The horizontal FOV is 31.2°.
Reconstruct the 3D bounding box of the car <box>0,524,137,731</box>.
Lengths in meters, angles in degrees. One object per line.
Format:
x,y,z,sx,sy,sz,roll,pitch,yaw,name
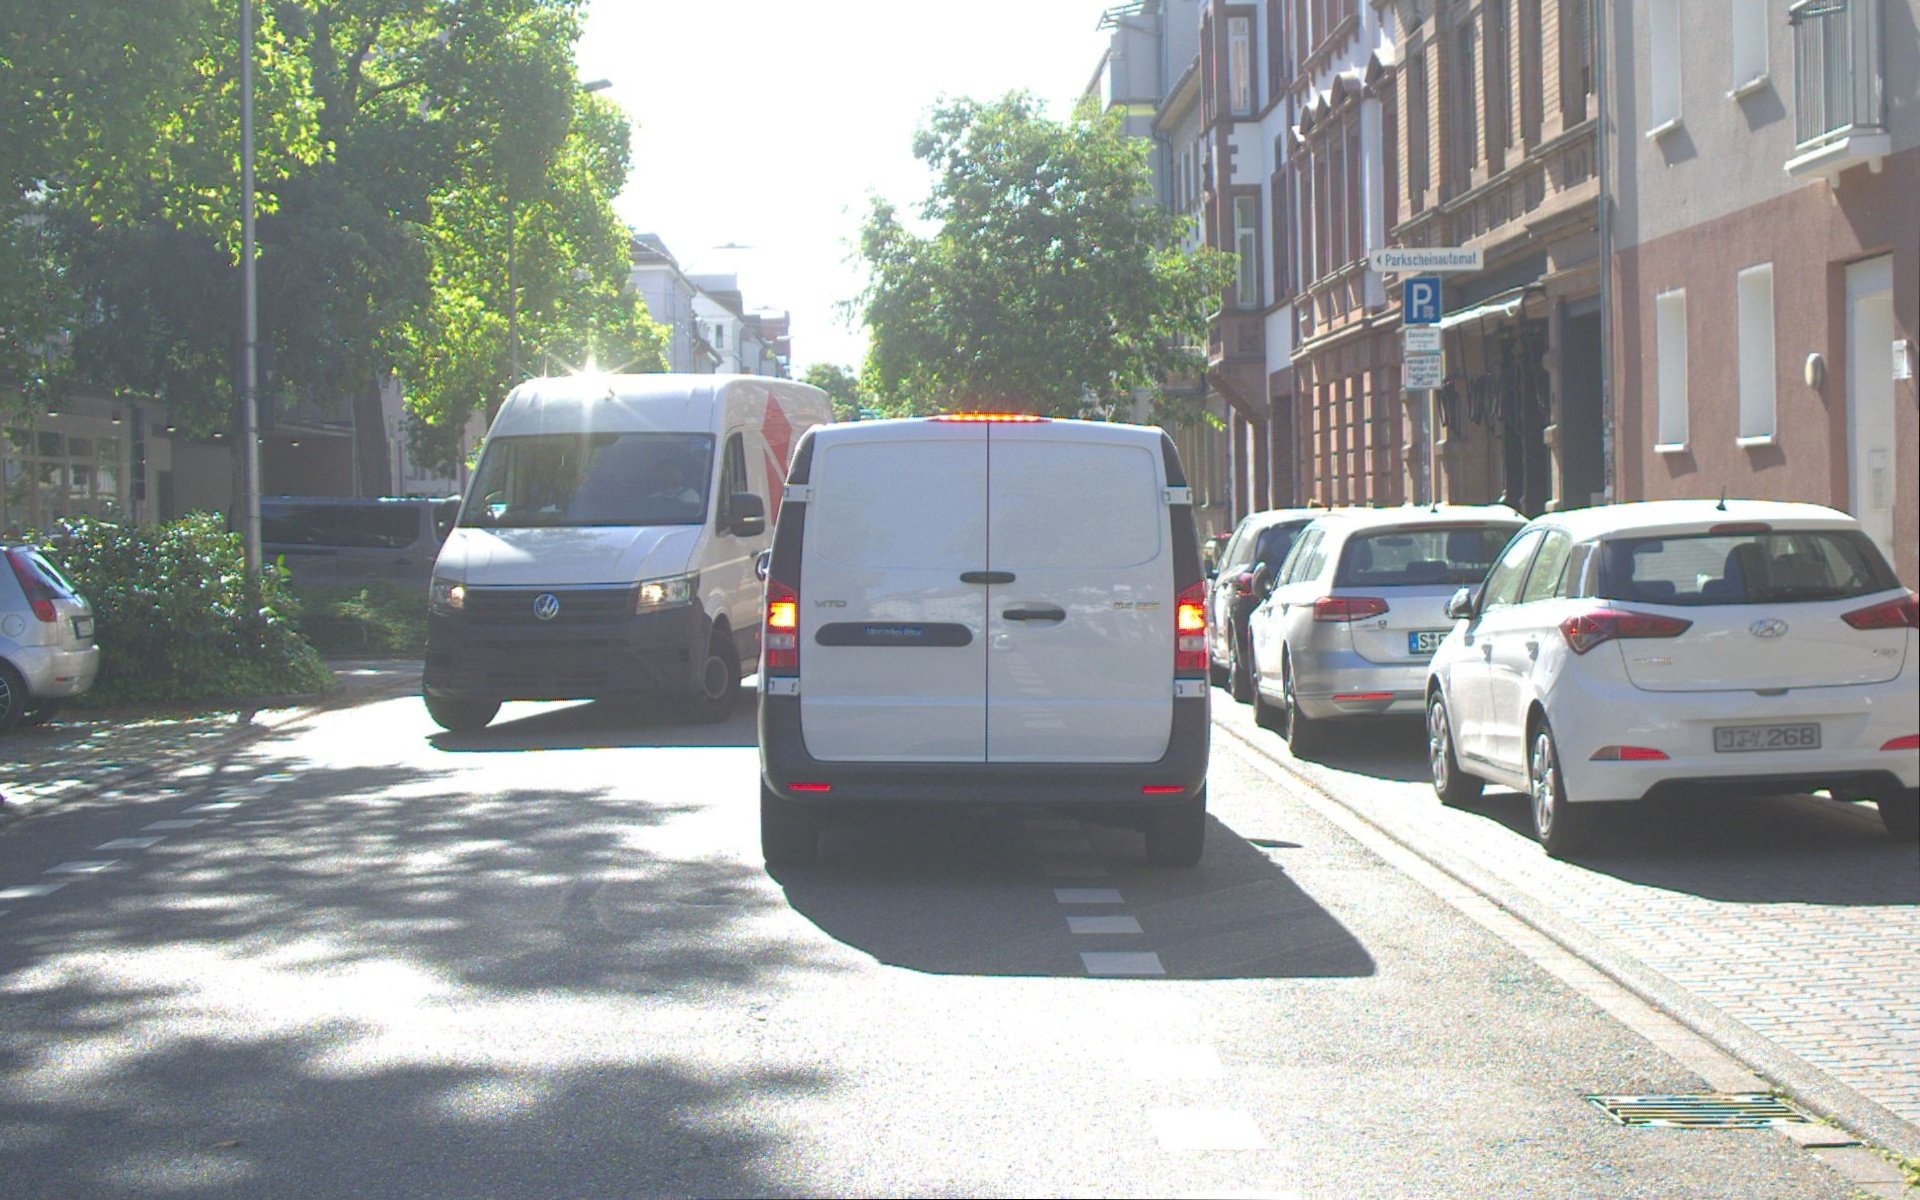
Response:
-8.267,0.201,25.304,3.986,1.452,1.861,-1,1,-2,car

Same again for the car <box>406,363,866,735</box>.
-2.267,-0.435,26.278,1.994,2.465,6.602,-1,2,8,car

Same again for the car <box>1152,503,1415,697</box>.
2.605,-0.043,28.429,1.709,1.475,3.711,-1,1,-1,car

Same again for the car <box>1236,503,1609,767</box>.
2.833,0.145,21.956,1.786,1.455,4.517,-2,1,1,car

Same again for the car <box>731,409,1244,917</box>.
0.007,0.170,15.383,1.920,1.907,4.889,0,2,-2,car

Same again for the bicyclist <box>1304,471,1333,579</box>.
4.894,-1.027,46.974,0.361,1.472,0.530,0,1,3,bicyclist

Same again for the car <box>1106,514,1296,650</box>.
2.716,-0.247,39.462,1.738,1.446,4.001,-1,1,-2,car

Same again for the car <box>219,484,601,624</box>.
-7.984,-0.680,50.250,5.292,1.967,2.016,0,1,-1,car

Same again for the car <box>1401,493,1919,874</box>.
3.258,0.287,15.912,1.731,1.481,3.795,-3,2,-2,car
